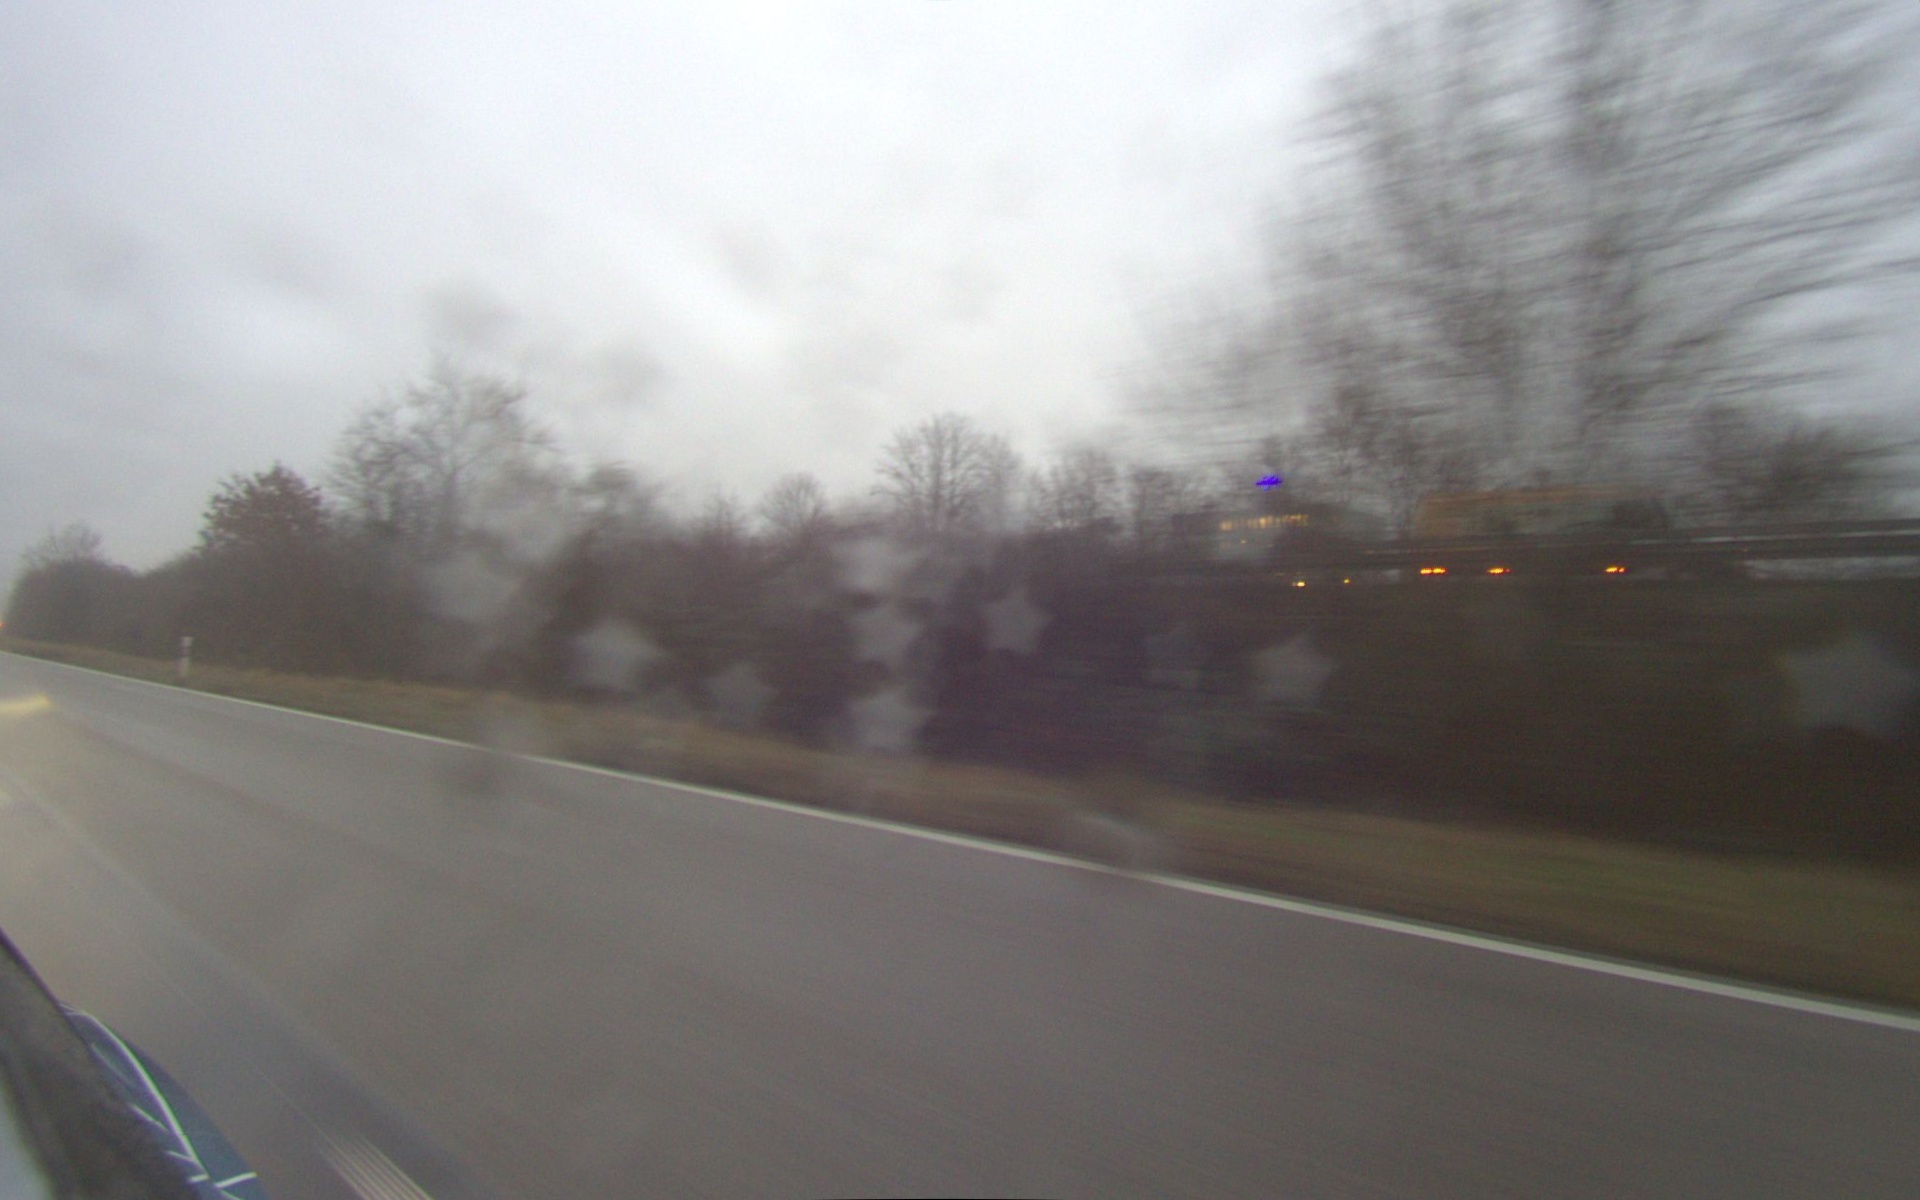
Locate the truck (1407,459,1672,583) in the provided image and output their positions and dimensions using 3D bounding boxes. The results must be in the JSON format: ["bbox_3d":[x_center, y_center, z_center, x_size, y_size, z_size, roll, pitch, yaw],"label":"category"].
[{"bbox_3d":[12.765,-1.604,22.469,4.825,2.361,1.973,-1,0,40],"label":"truck"}]
